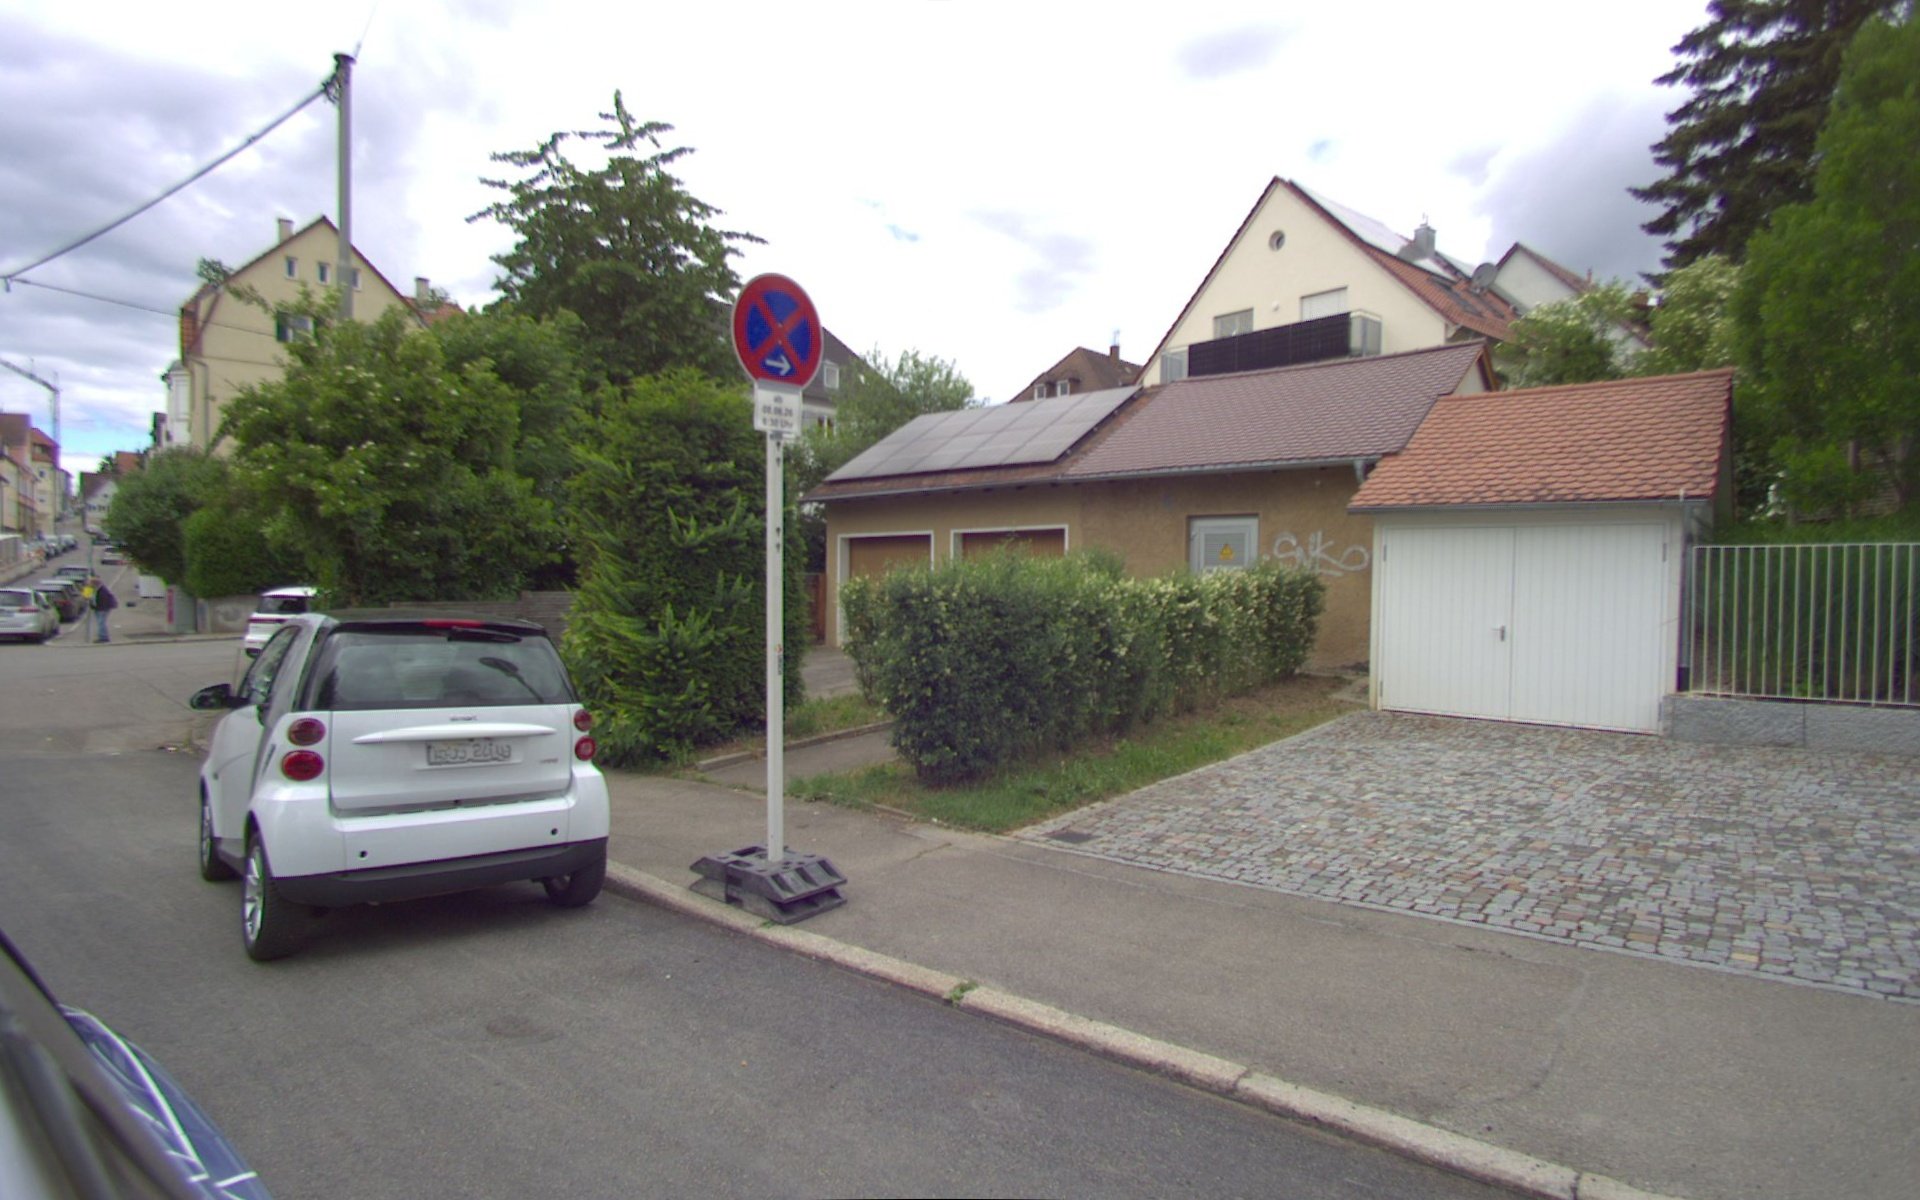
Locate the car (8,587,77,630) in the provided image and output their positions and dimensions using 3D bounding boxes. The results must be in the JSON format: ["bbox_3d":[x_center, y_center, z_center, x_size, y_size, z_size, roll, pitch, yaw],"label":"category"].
[{"bbox_3d":[-37.067,0.300,40.969,1.779,1.491,4.338,0,2,-39],"label":"car"}]

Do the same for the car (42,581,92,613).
[{"bbox_3d":[-42.914,-0.164,48.687,1.618,1.409,3.711,0,2,-39],"label":"car"}]

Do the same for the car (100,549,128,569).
[{"bbox_3d":[-73.383,-3.589,87.814,1.637,1.578,4.010,1,4,-37],"label":"car"}]

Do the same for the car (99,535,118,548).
[{"bbox_3d":[-112.241,-7.660,133.410,1.755,1.578,4.010,0,4,-37],"label":"car"}]

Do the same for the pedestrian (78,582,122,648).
[{"bbox_3d":[-23.857,0.401,28.087,0.809,1.773,0.645,-3,2,-36],"label":"pedestrian"}]

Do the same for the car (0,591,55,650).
[{"bbox_3d":[-28.526,0.565,30.389,1.781,1.672,4.159,1,0,-39],"label":"car"}]

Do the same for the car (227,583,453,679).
[{"bbox_3d":[-12.981,0.552,21.601,1.811,1.667,4.510,-1,3,4],"label":"car"}]

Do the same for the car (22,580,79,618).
[{"bbox_3d":[-40.619,-0.079,45.259,1.618,1.439,4.132,2,2,-39],"label":"car"}]

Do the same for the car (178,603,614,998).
[{"bbox_3d":[-3.196,0.853,5.543,1.425,1.564,2.772,3,-4,-43],"label":"car"}]

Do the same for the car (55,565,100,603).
[{"bbox_3d":[-46.358,-0.860,53.193,1.727,1.810,4.156,1,3,-41],"label":"car"}]
